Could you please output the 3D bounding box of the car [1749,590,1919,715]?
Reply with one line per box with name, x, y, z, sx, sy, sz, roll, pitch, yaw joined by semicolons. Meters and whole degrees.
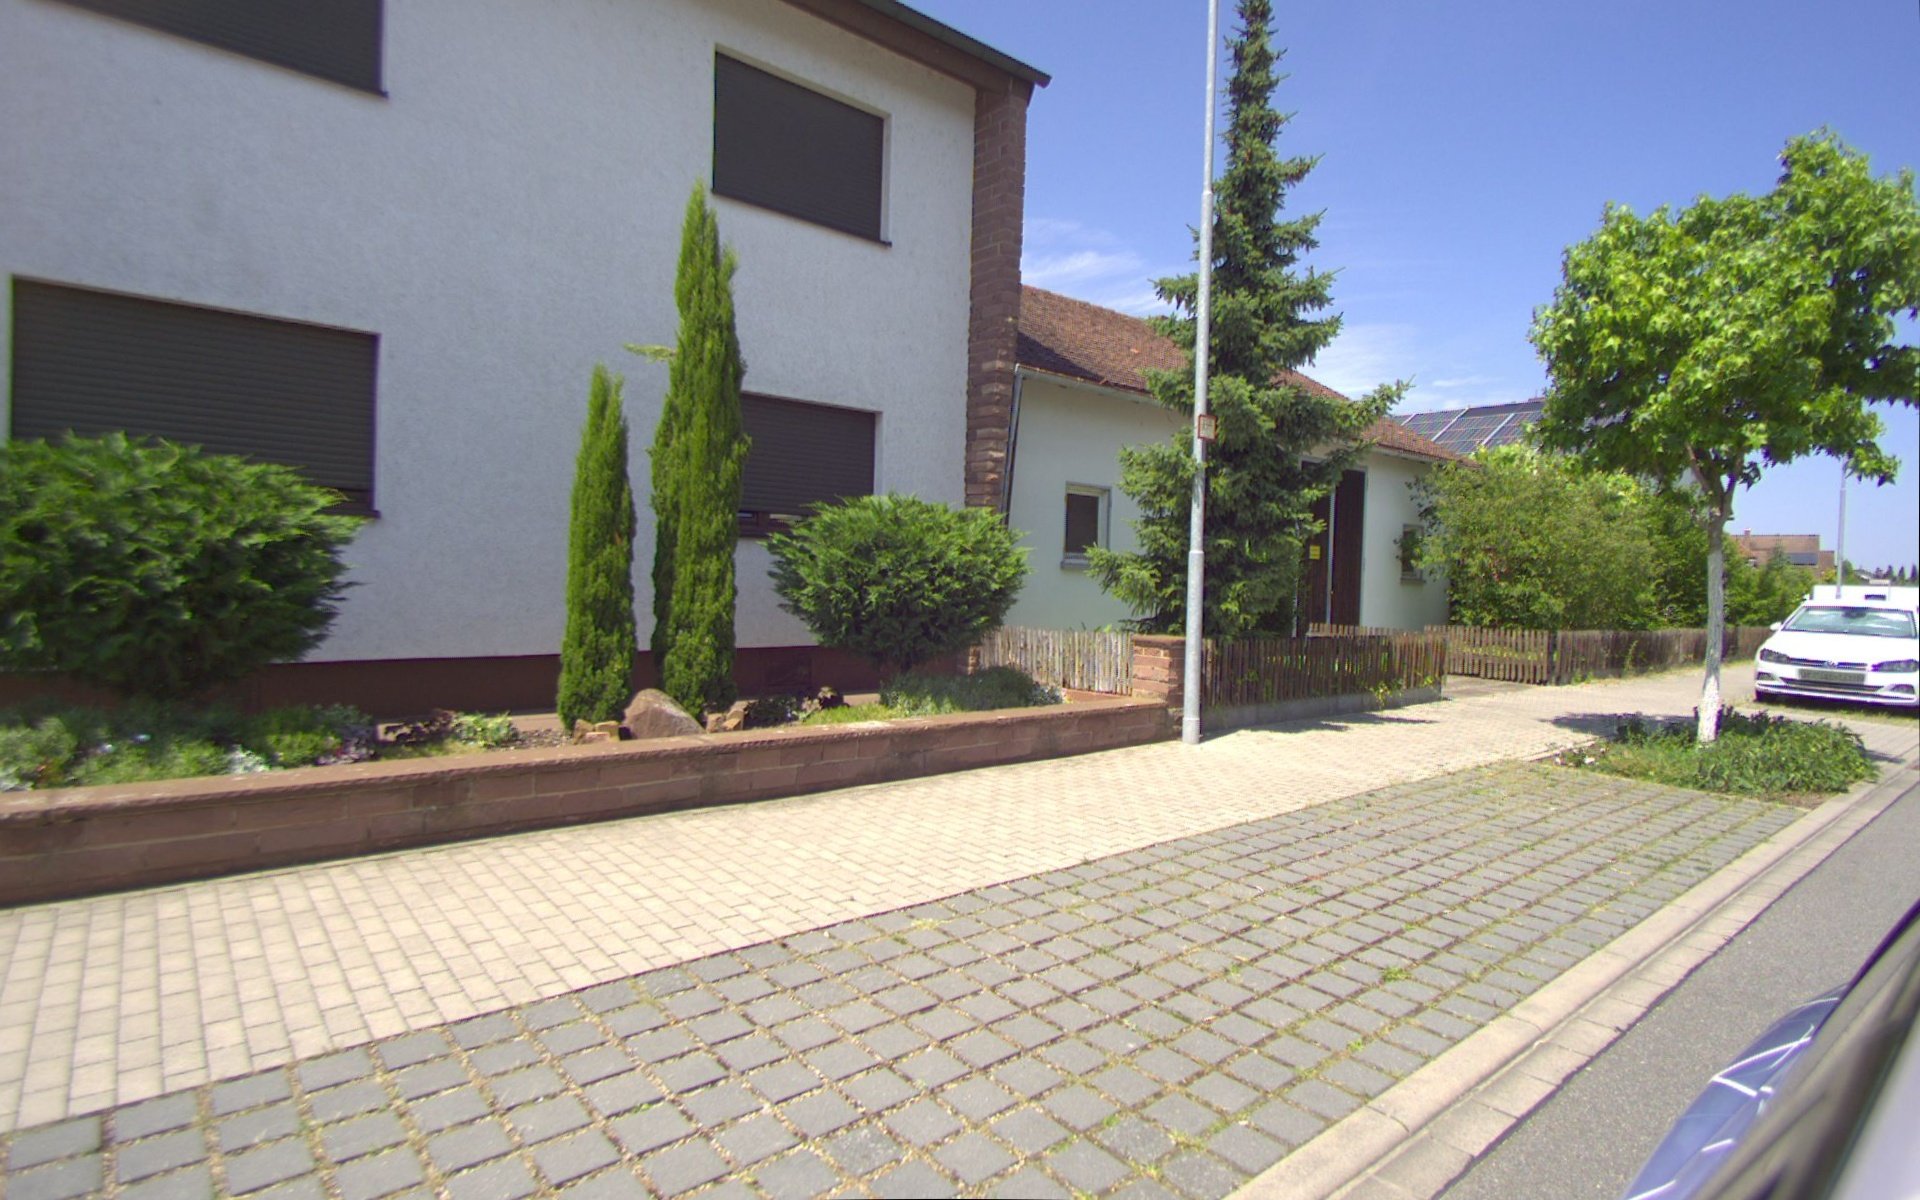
car;12.469;0.637;13.936;3.800;1.437;1.818;0;2;-41
